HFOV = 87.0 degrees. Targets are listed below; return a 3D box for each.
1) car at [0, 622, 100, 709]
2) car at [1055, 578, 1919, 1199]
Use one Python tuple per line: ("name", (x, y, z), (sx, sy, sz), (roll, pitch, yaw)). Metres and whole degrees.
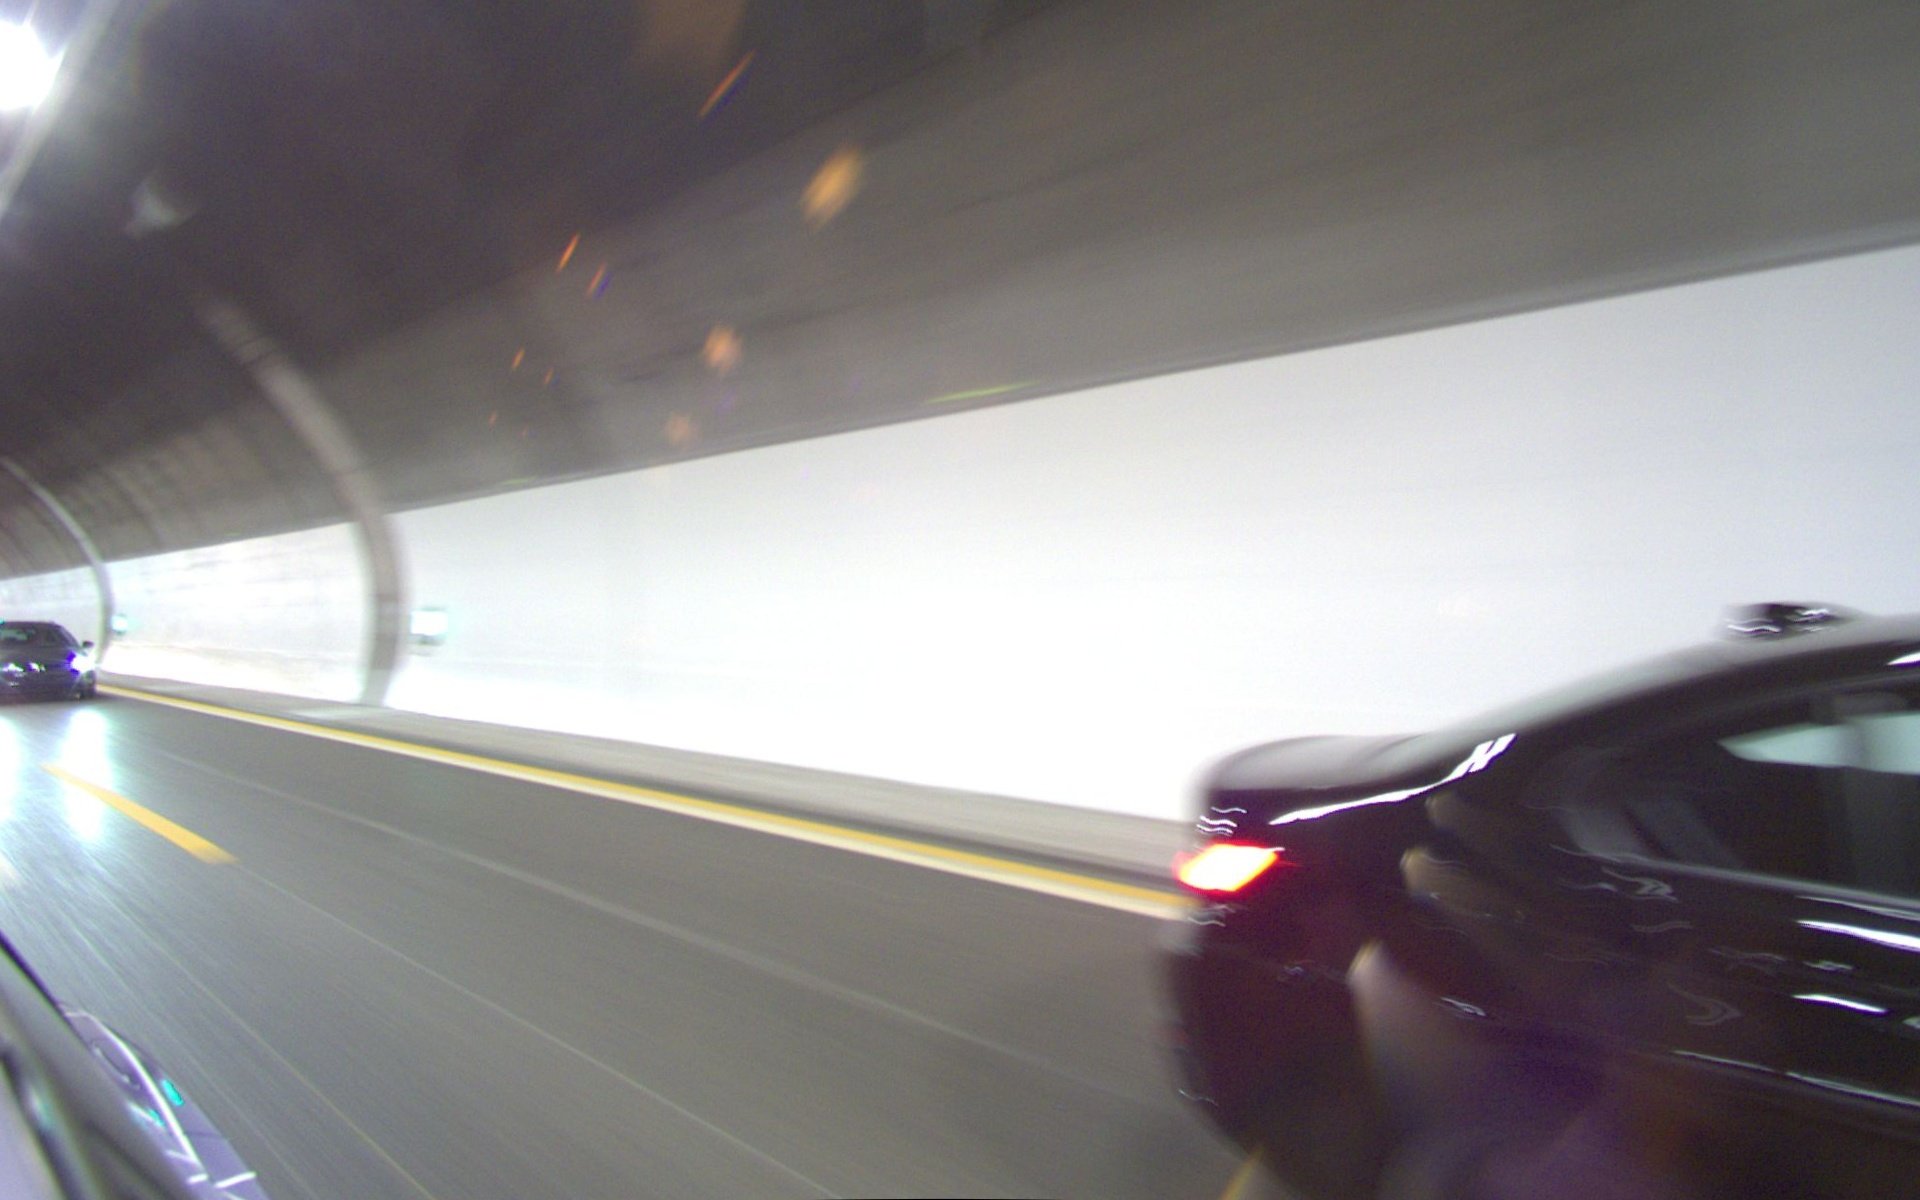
("car", (-17.925, 1.168, 19.125), (4.878, 1.449, 1.760), (-2, -1, 40))
("car", (2.636, 0.667, 1.330), (4.880, 1.449, 1.760), (-2, -1, 41))
